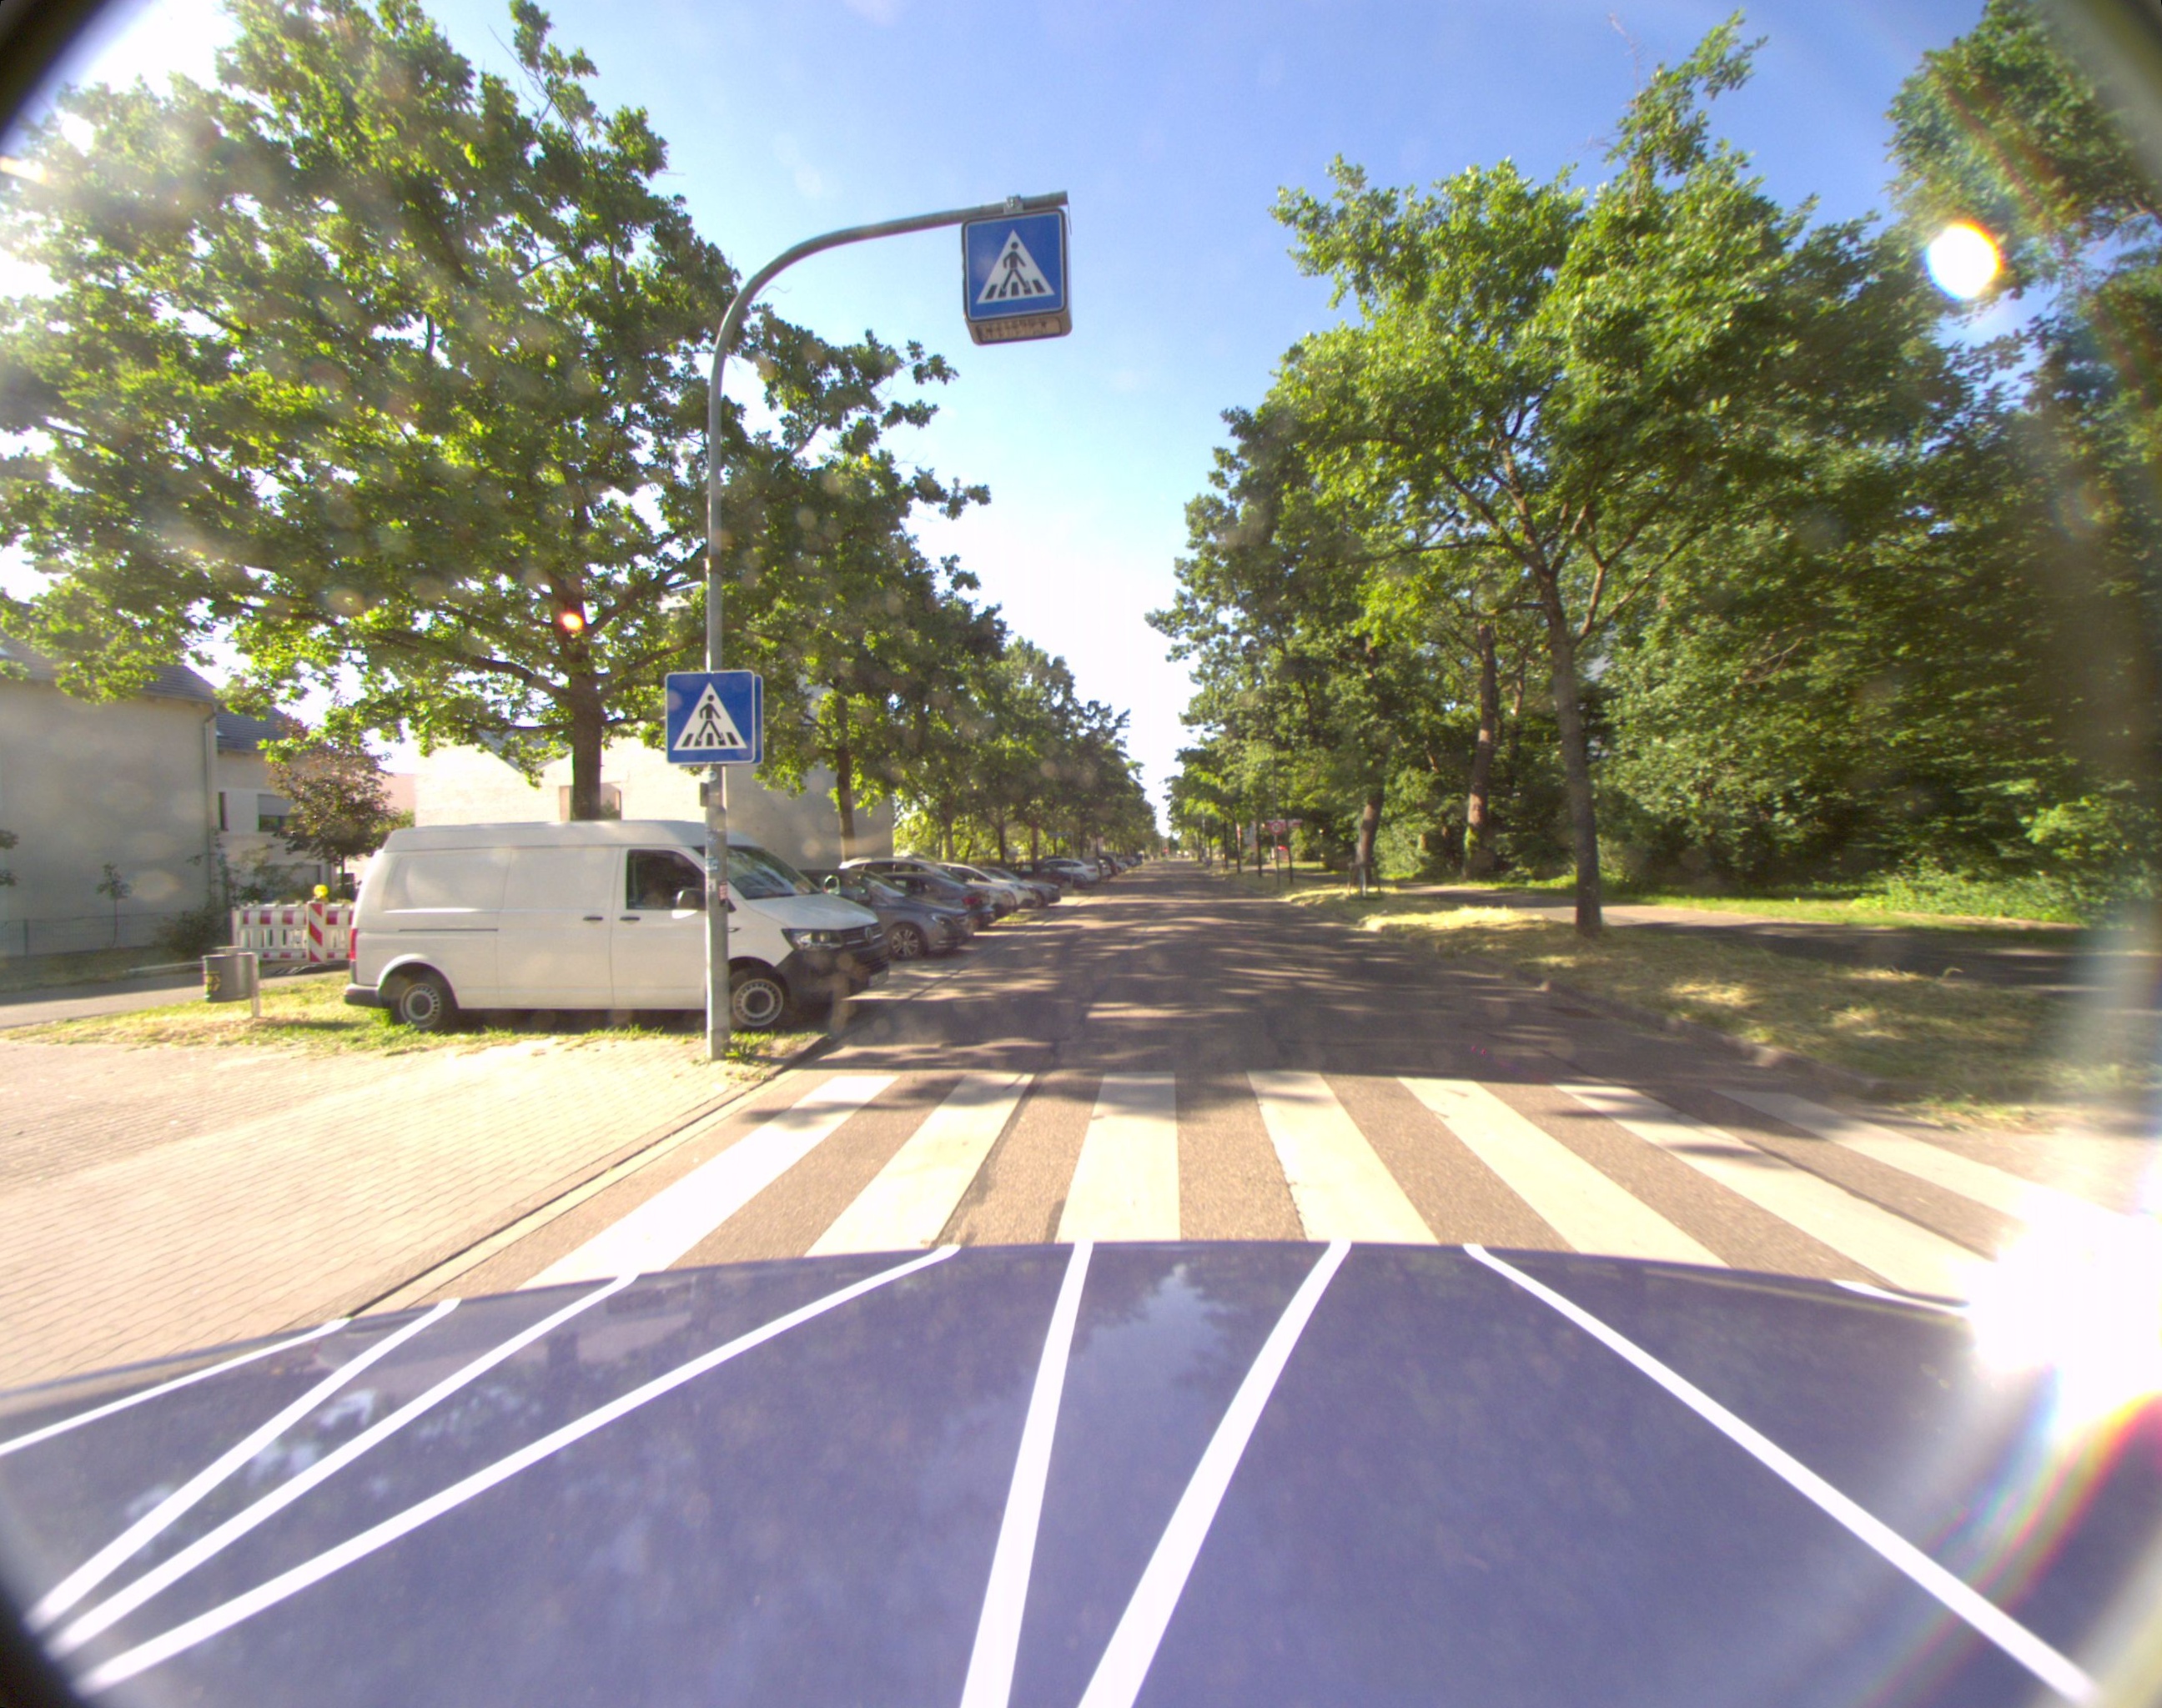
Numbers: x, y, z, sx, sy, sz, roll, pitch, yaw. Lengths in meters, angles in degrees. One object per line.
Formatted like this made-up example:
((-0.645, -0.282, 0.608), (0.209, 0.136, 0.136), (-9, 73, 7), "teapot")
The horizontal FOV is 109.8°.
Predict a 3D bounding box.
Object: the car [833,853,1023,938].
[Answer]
((-3.591, 0.966, 18.169), (4.017, 1.783, 1.714), (-3, 0, 8), "car")

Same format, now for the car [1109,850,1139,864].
((6.325, 0.447, 111.644), (4.149, 1.838, 1.950), (-3, 0, 7), "car")

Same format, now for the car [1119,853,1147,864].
((8.012, 0.709, 116.525), (4.149, 1.401, 1.801), (-3, 0, 7), "car")

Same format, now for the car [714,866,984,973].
((-3.880, 1.086, 13.074), (3.994, 1.554, 1.758), (-3, 0, 8), "car")

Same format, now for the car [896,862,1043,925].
((-3.289, 1.163, 22.758), (4.017, 1.669, 1.533), (-3, 0, 8), "car")

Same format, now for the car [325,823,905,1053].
((-4.657, 0.812, 8.021), (5.043, 2.069, 1.891), (-1, 0, 6), "car")

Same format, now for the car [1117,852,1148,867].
((7.223, 0.730, 106.464), (4.149, 1.838, 1.950), (-3, 0, 7), "car")

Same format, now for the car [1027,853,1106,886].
((-0.844, 0.894, 44.784), (4.393, 1.733, 1.533), (-3, 0, 8), "car")

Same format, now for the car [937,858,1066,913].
((-2.657, 1.042, 25.706), (4.017, 1.650, 1.533), (-3, 0, 8), "car")

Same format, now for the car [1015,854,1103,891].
((-1.132, 0.968, 40.346), (4.393, 1.733, 1.533), (-3, 0, 8), "car")

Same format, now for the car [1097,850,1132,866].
((4.229, 0.484, 95.605), (4.149, 1.838, 1.950), (-3, 0, 7), "car")

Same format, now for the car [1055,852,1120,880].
((0.502, 0.849, 53.935), (4.393, 1.733, 1.533), (-3, 0, 8), "car")

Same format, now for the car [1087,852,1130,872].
((2.738, 0.773, 74.504), (3.995, 1.838, 1.864), (-3, 0, 7), "car")

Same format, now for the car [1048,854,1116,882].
((0.104, 0.954, 52.089), (4.393, 1.733, 1.533), (-3, 0, 8), "car")

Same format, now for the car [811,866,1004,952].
((-3.502, 1.111, 15.593), (3.514, 1.533, 1.449), (-3, 0, 8), "car")
